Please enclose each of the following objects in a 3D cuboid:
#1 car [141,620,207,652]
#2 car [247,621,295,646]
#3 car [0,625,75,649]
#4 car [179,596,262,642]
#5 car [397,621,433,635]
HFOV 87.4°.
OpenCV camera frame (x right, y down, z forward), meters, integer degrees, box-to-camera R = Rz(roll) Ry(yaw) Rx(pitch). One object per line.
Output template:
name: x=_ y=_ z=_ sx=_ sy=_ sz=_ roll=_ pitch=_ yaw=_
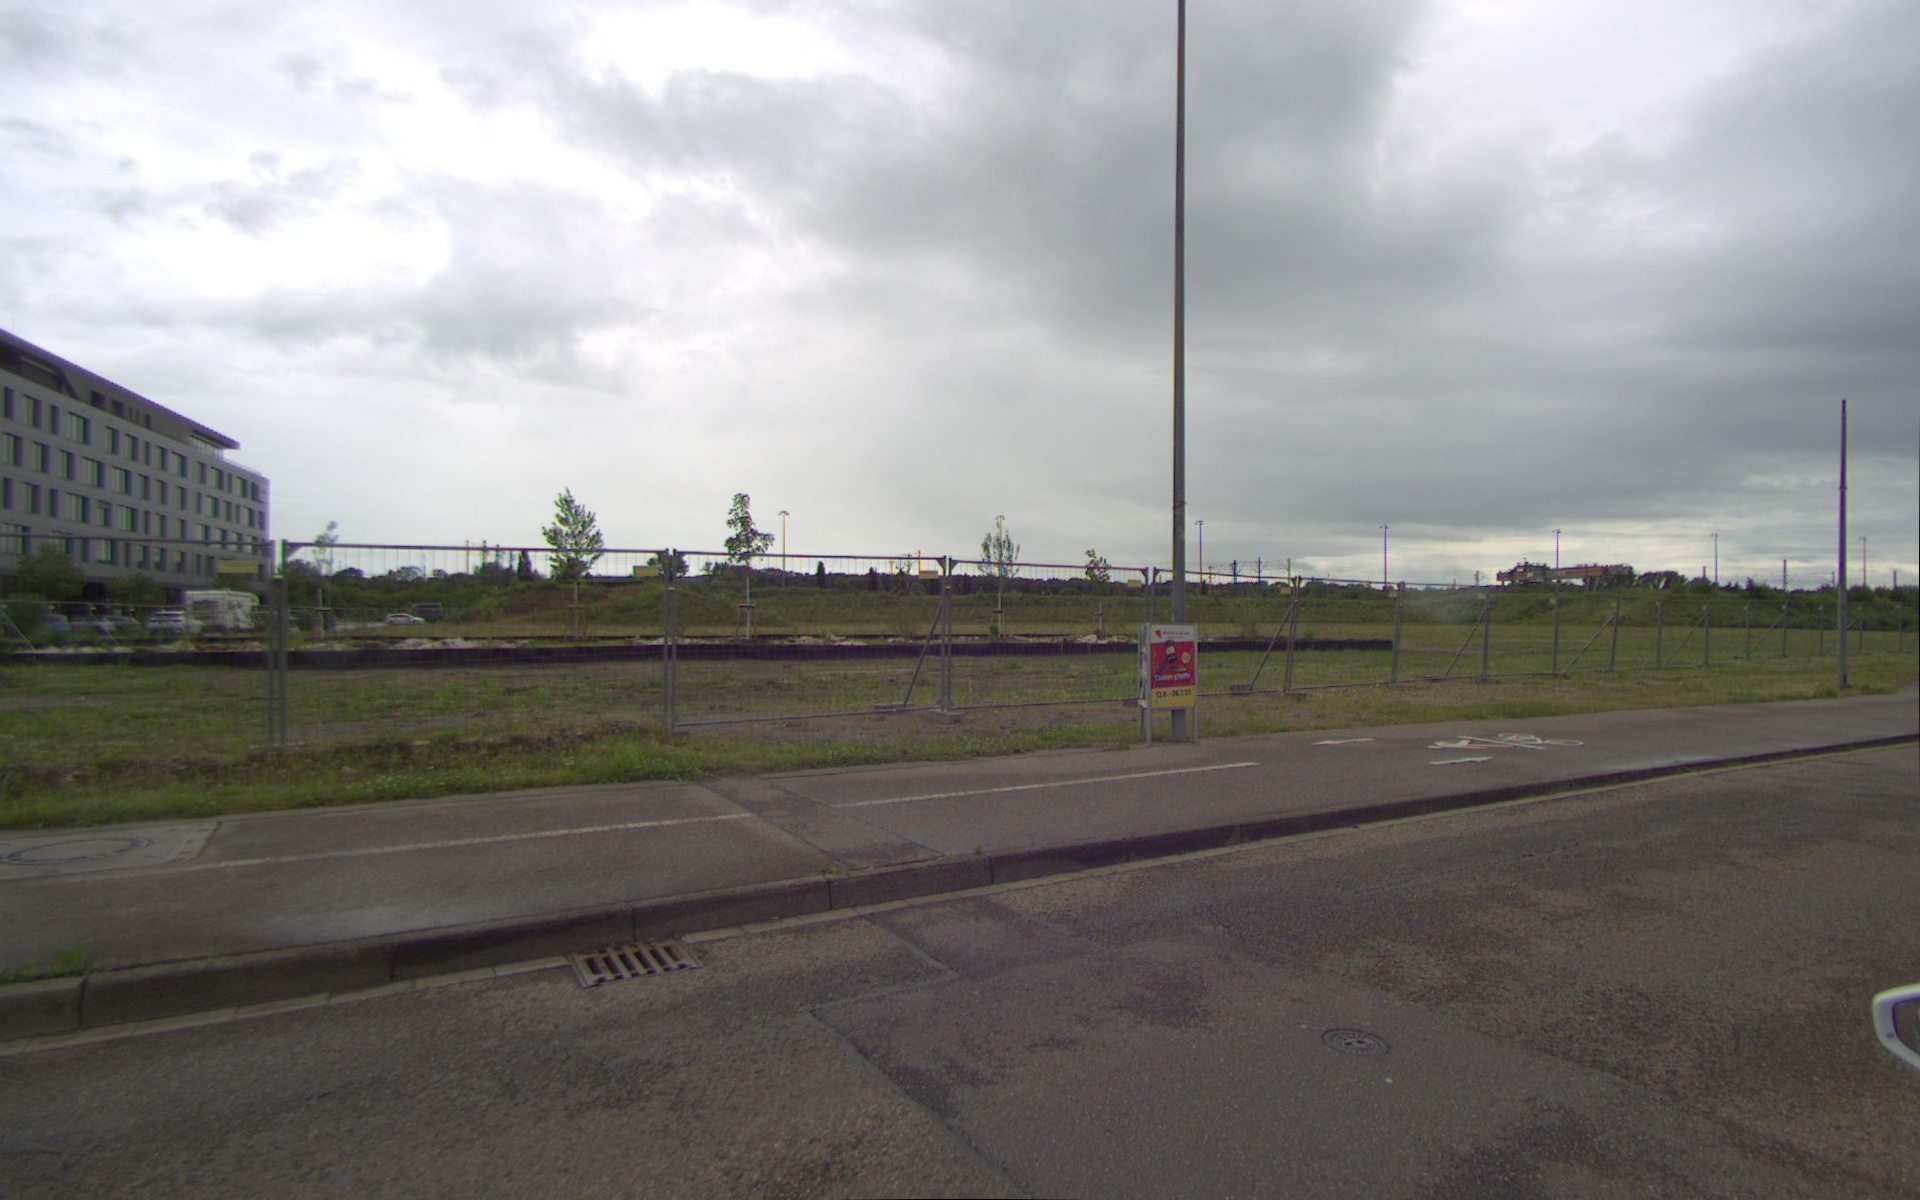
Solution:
car: x=-47.840 y=2.154 z=61.217 sx=1.969 sy=1.770 sz=3.983 roll=-1 pitch=0 yaw=-19
car: x=-52.954 y=2.563 z=77.316 sx=1.969 sy=1.862 sz=4.506 roll=0 pitch=-1 yaw=-20
car: x=-60.125 y=2.404 z=64.961 sx=3.943 sy=1.478 sz=1.736 roll=0 pitch=-1 yaw=-23
car: x=-50.584 y=1.288 z=68.890 sx=2.672 sy=2.996 sz=6.549 roll=-1 pitch=0 yaw=-19
car: x=-67.468 y=3.473 z=124.403 sx=3.950 sy=1.639 sz=1.986 roll=-1 pitch=0 yaw=-28
